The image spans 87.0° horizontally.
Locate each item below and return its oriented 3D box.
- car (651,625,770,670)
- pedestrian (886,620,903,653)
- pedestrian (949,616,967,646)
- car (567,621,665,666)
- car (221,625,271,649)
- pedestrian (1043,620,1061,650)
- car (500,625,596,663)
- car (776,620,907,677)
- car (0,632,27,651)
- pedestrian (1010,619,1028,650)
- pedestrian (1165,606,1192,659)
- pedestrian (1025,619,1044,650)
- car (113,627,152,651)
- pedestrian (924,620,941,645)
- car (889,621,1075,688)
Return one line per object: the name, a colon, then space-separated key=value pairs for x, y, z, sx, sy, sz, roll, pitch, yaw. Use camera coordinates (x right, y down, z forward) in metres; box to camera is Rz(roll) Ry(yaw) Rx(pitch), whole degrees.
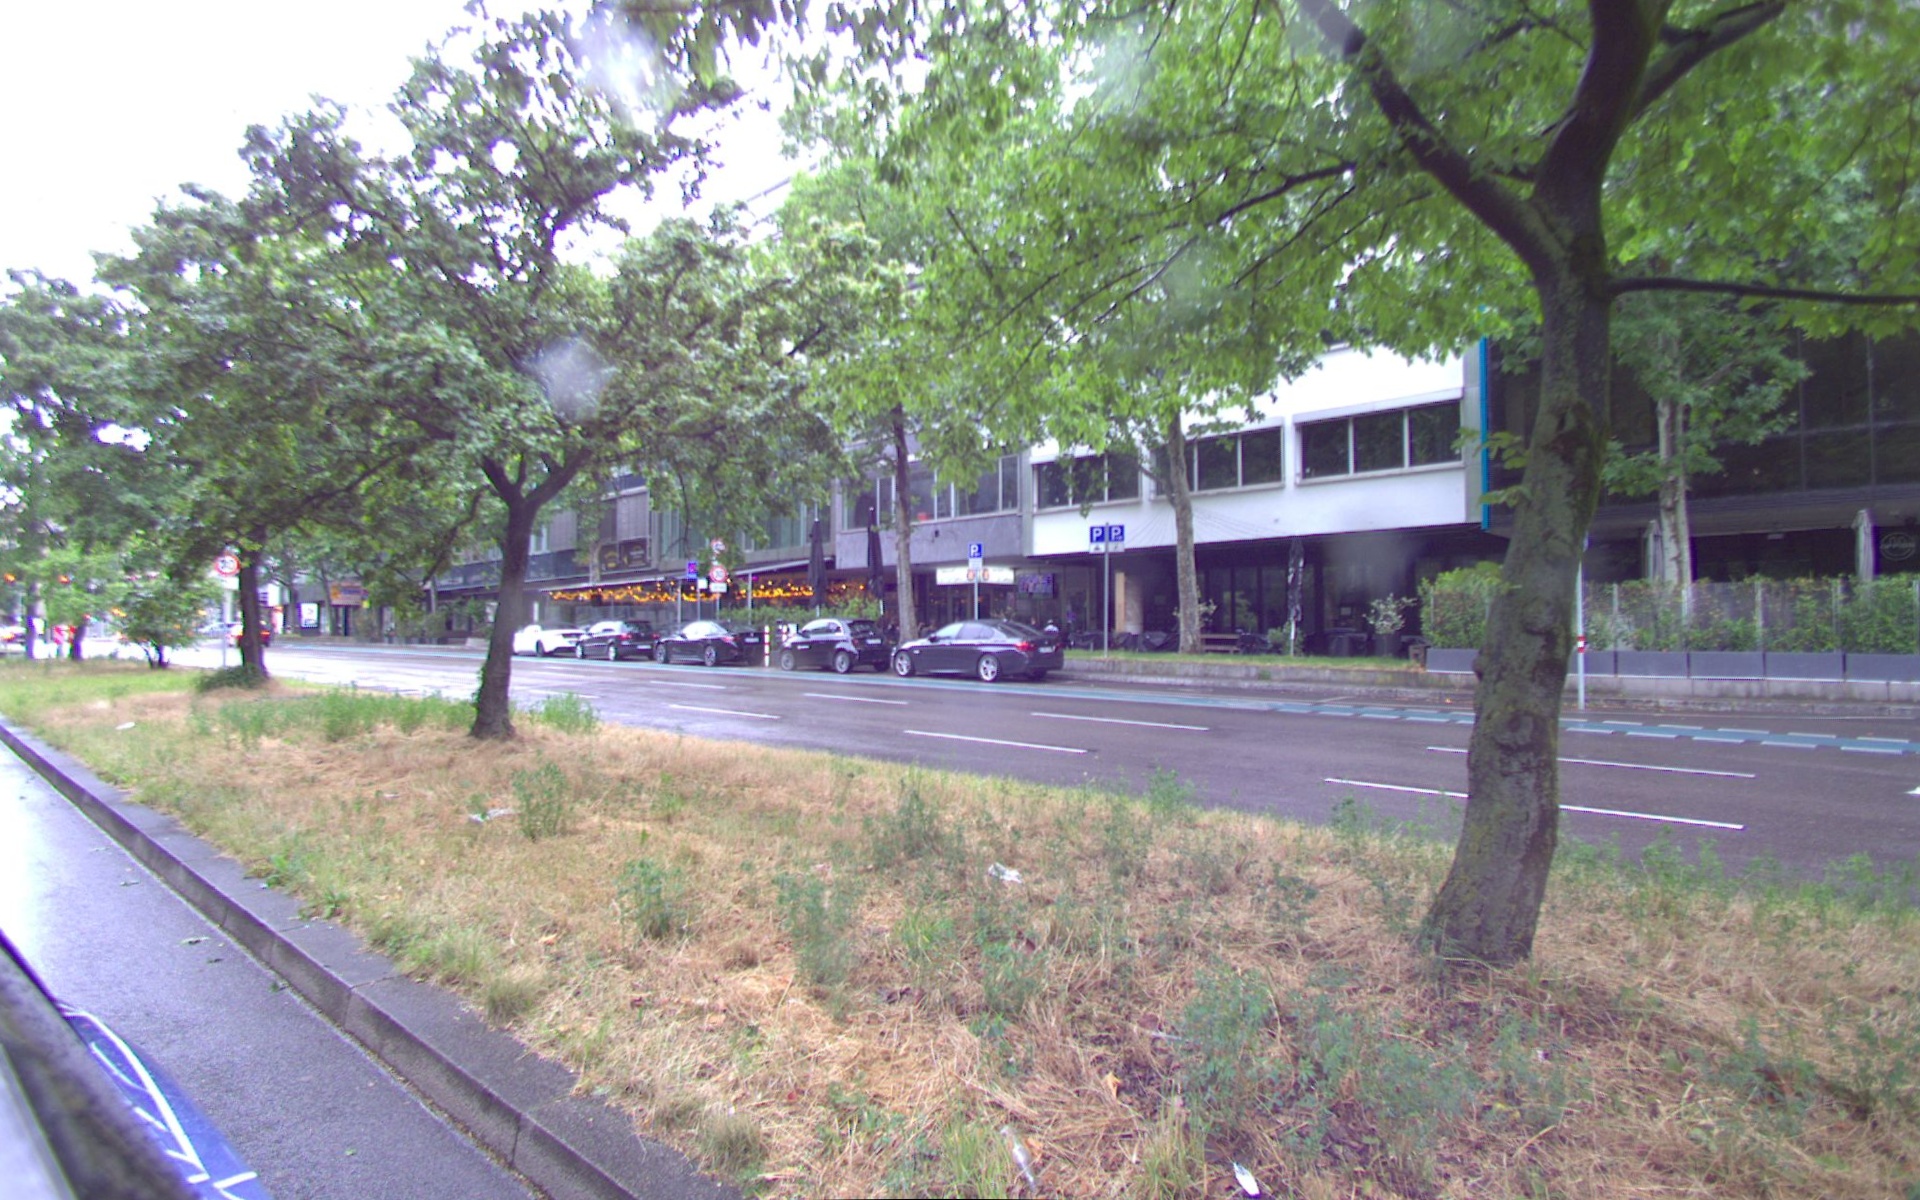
car: x=-8.011 y=1.456 z=32.240 sx=4.319 sy=1.249 sz=1.625 roll=0 pitch=0 yaw=44
pedestrian: x=-2.424 y=1.361 z=37.412 sx=0.466 sy=1.195 sz=0.440 roll=-1 pitch=0 yaw=34
pedestrian: x=-0.062 y=1.073 z=35.432 sx=0.423 sy=1.024 sz=0.459 roll=-1 pitch=0 yaw=39
car: x=-12.457 y=1.543 z=36.561 sx=3.788 sy=1.464 sz=1.727 roll=0 pitch=0 yaw=42
car: x=-44.157 y=2.279 z=62.557 sx=3.737 sy=1.335 sz=1.742 roll=0 pitch=0 yaw=42
pedestrian: x=3.006 y=1.130 z=32.921 sx=0.451 sy=0.970 sz=0.454 roll=-1 pitch=0 yaw=26
car: x=-16.505 y=1.723 z=40.404 sx=4.392 sy=1.336 sz=1.856 roll=0 pitch=0 yaw=42
car: x=-3.332 y=1.302 z=28.182 sx=3.400 sy=1.433 sz=1.851 roll=0 pitch=0 yaw=42
car: x=-75.752 y=3.292 z=80.577 sx=3.524 sy=1.400 sz=1.657 roll=0 pitch=0 yaw=39
pedestrian: x=1.960 y=1.146 z=33.499 sx=0.461 sy=1.000 sz=0.455 roll=-1 pitch=0 yaw=26
pedestrian: x=6.974 y=1.014 z=32.335 sx=0.623 sy=1.660 sz=0.598 roll=-1 pitch=0 yaw=37
pedestrian: x=2.449 y=1.129 z=33.152 sx=0.488 sy=1.008 sz=0.481 roll=-1 pitch=0 yaw=26
car: x=-67.877 y=3.158 z=82.977 sx=3.954 sy=1.799 sz=1.913 roll=0 pitch=0 yaw=42
pedestrian: x=-0.979 y=1.166 z=36.460 sx=0.433 sy=0.856 sz=0.435 roll=-1 pitch=0 yaw=39
car: x=0.444 y=1.256 z=24.745 sx=1.849 sy=1.396 sz=4.539 roll=-1 pitch=0 yaw=-45
